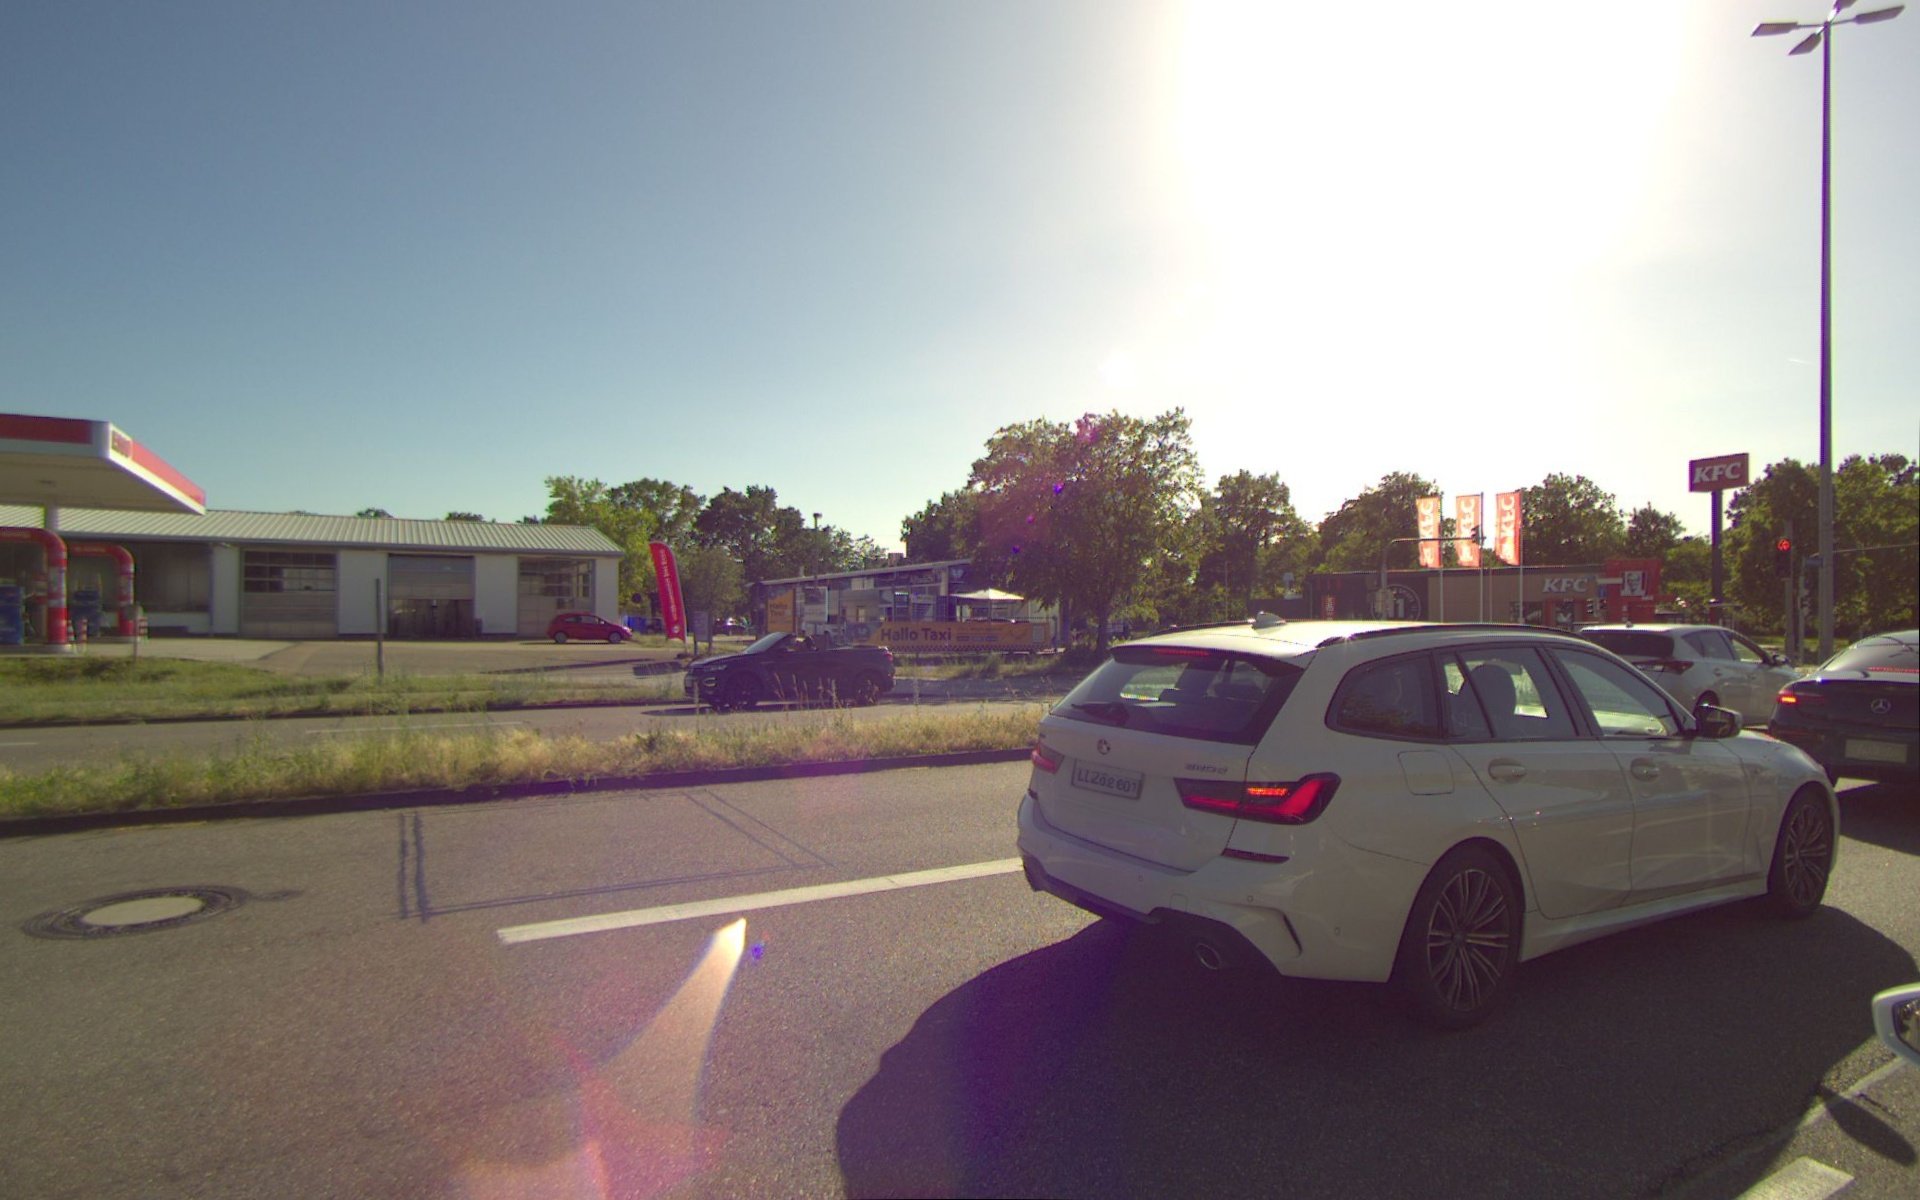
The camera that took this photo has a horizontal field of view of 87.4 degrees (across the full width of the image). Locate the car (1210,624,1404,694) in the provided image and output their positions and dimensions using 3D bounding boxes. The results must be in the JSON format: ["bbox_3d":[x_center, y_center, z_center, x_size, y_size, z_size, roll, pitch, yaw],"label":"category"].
[{"bbox_3d":[7.762,1.306,22.373,4.254,1.428,1.721,2,-4,-30],"label":"car"}]

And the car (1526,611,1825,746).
[{"bbox_3d":[9.585,0.970,13.385,4.150,1.510,1.750,2,0,-31],"label":"car"}]

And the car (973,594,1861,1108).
[{"bbox_3d":[2.382,0.797,4.873,4.353,1.510,1.776,2,0,-31],"label":"car"}]

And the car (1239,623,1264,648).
[{"bbox_3d":[21.812,2.616,75.151,1.629,1.695,3.945,2,0,18],"label":"car"}]

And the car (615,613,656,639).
[{"bbox_3d":[-19.315,1.542,59.717,1.634,1.383,3.744,2,0,-29],"label":"car"}]

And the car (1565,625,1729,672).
[{"bbox_3d":[23.771,1.695,34.950,1.742,1.510,4.395,1,-3,-28],"label":"car"}]

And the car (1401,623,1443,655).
[{"bbox_3d":[28.344,2.338,61.517,1.964,1.788,4.349,2,0,29],"label":"car"}]

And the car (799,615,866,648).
[{"bbox_3d":[-6.778,1.643,53.132,1.978,1.584,3.964,2,0,-32],"label":"car"}]

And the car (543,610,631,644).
[{"bbox_3d":[-18.347,1.332,49.404,3.946,1.537,1.772,2,0,-25],"label":"car"}]

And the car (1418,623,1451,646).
[{"bbox_3d":[33.935,2.449,71.944,1.629,1.491,3.919,2,0,18],"label":"car"}]

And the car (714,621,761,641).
[{"bbox_3d":[-19.405,2.715,87.664,3.929,1.634,1.996,2,0,-11],"label":"car"}]

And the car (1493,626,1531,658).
[{"bbox_3d":[33.090,2.469,60.199,1.880,1.776,4.349,2,0,29],"label":"car"}]

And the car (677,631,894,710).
[{"bbox_3d":[-3.447,1.375,20.065,3.933,1.428,1.750,2,-4,-31],"label":"car"}]

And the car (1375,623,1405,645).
[{"bbox_3d":[31.302,2.439,73.217,1.629,1.491,3.919,2,0,18],"label":"car"}]

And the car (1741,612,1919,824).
[{"bbox_3d":[8.774,0.930,8.636,4.425,1.510,1.787,2,0,-31],"label":"car"}]
